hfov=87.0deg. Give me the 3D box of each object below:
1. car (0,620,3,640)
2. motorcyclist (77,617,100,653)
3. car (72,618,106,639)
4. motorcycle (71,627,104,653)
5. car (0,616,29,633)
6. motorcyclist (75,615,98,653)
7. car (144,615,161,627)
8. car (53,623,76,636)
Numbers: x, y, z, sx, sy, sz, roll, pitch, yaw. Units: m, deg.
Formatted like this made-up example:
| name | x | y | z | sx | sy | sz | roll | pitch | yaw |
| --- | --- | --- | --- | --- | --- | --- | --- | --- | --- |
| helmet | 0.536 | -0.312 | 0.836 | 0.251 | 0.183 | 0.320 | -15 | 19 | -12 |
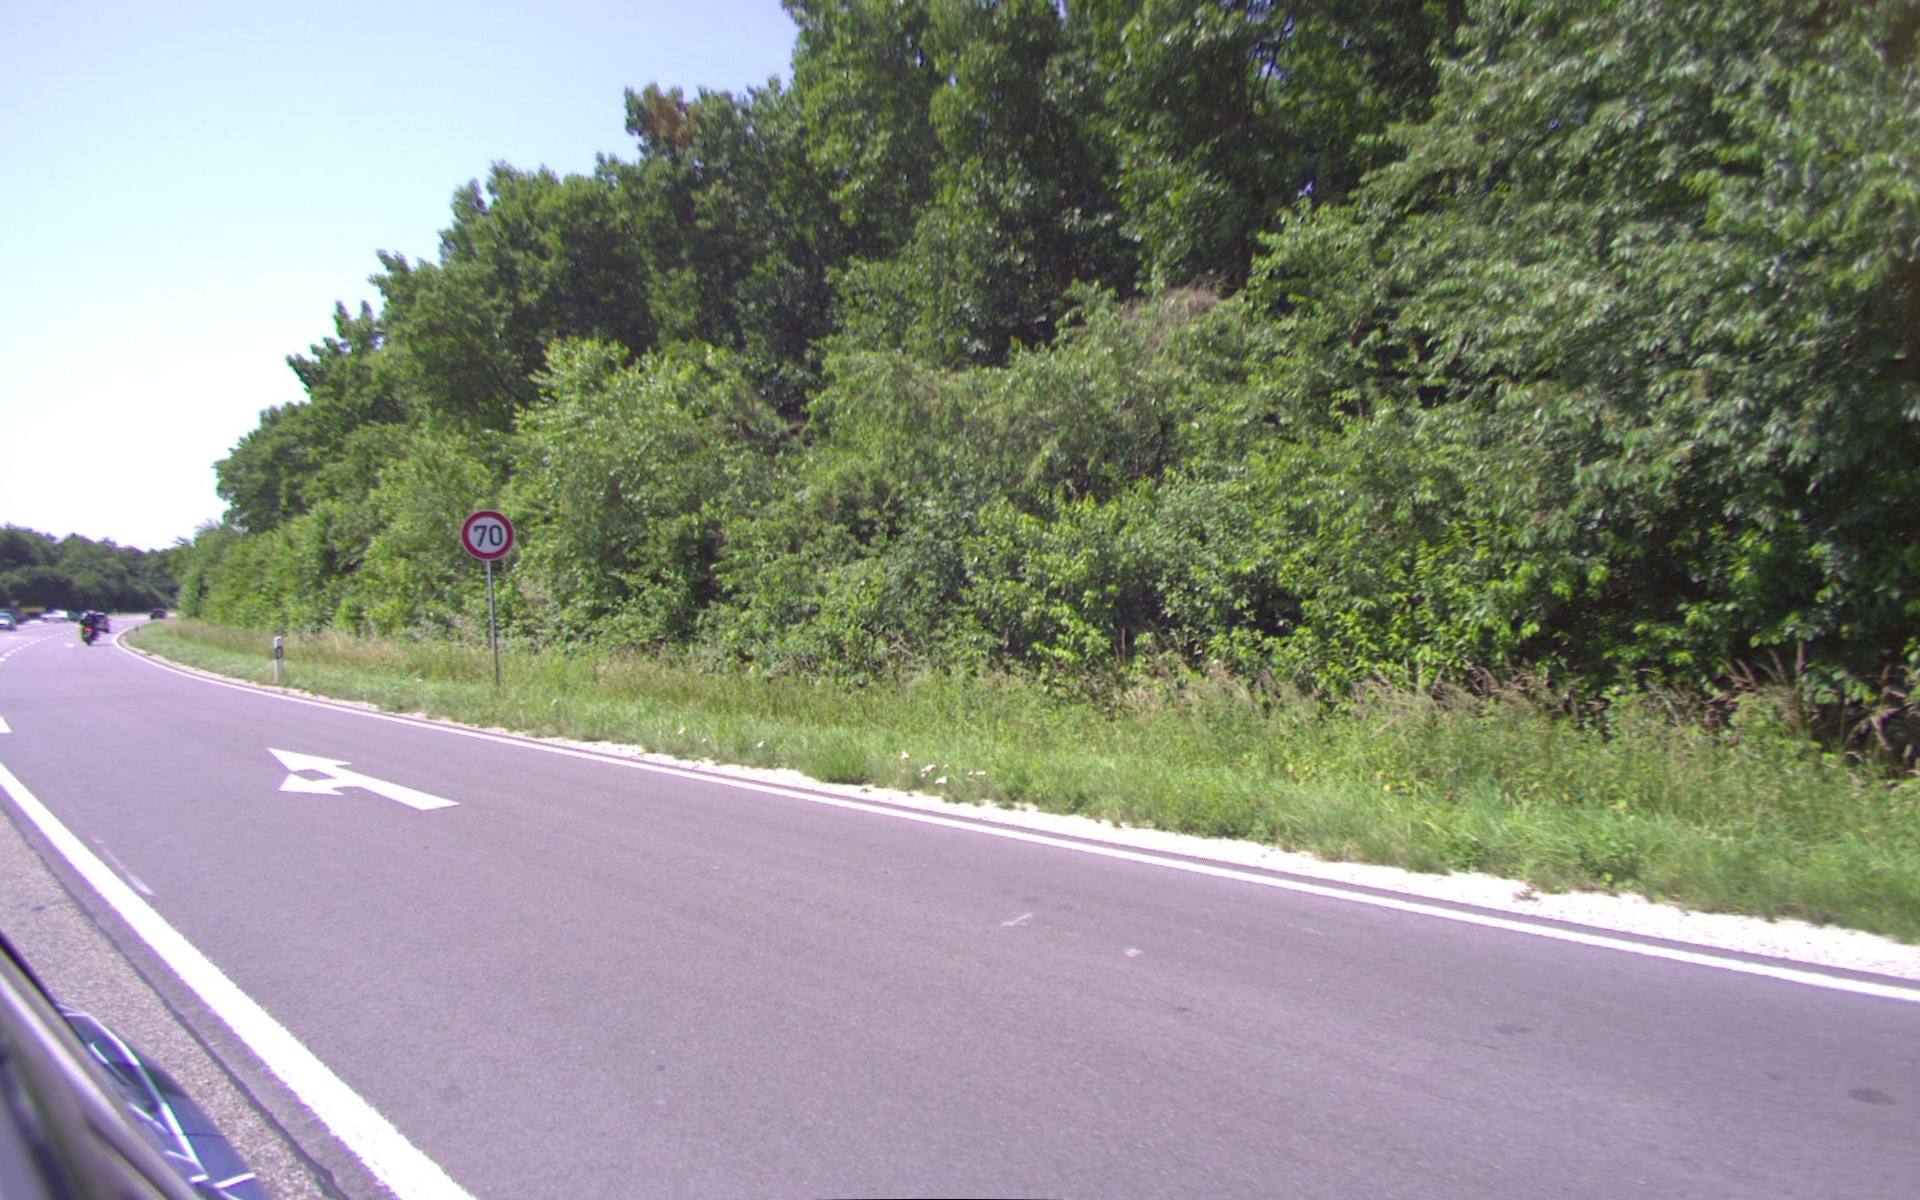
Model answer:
| name | x | y | z | sx | sy | sz | roll | pitch | yaw |
| --- | --- | --- | --- | --- | --- | --- | --- | --- | --- |
| car | -87.020 | 2.688 | 90.684 | 4.002 | 1.821 | 1.784 | -1 | -1 | 45 |
| motorcyclist | -44.120 | 1.773 | 51.234 | 0.623 | 1.765 | 0.822 | -1 | -1 | 41 |
| car | -70.294 | 2.297 | 81.637 | 1.782 | 1.649 | 4.214 | 0 | -1 | -45 |
| motorcycle | -44.614 | 2.040 | 51.717 | 2.681 | 1.260 | 0.937 | -1 | -1 | 42 |
| car | -113.161 | 2.954 | 118.998 | 2.011 | 1.921 | 5.164 | 0 | 2 | 37 |
| motorcyclist | -44.677 | 1.716 | 51.751 | 0.657 | 1.896 | 0.811 | -1 | -1 | 41 |
| car | -110.319 | 2.871 | 138.247 | 1.780 | 1.649 | 4.218 | 0 | -1 | -41 |
| car | -112.604 | 3.719 | 127.277 | 1.686 | 1.430 | 4.108 | 0 | 0 | -35 |
